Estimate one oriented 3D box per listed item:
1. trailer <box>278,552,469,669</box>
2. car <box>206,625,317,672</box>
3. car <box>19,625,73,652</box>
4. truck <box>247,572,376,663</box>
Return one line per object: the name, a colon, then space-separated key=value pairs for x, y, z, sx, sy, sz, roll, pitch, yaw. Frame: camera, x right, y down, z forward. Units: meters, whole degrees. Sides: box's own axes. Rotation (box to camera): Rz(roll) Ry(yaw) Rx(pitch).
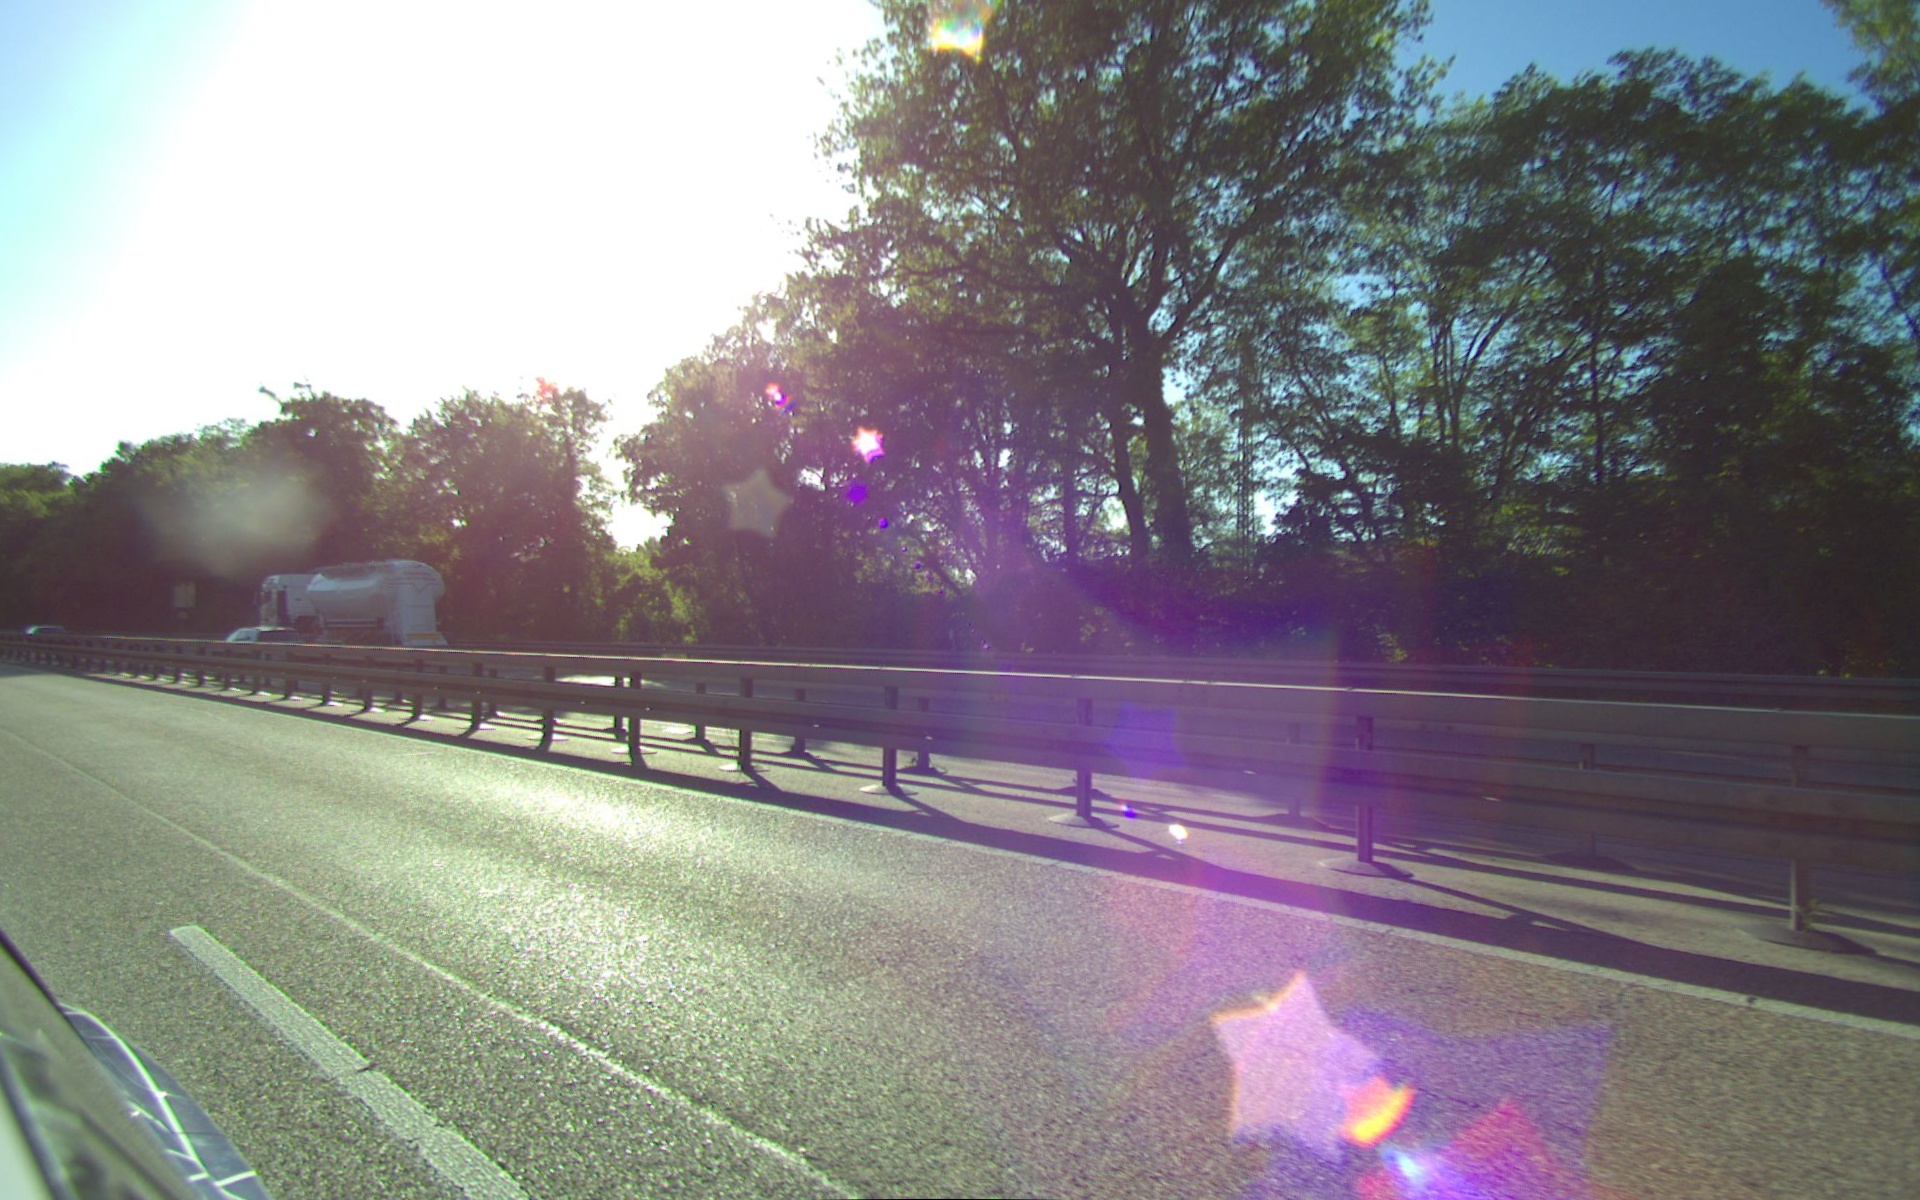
trailer: x=-23.171 y=0.483 z=39.580 sx=10.966 sy=4.028 sz=3.021 roll=-1 pitch=-2 yaw=41
car: x=-23.653 y=1.590 z=34.216 sx=4.690 sy=1.478 sz=1.781 roll=-1 pitch=-2 yaw=39
car: x=-52.210 y=2.161 z=57.795 sx=4.087 sy=1.478 sz=1.650 roll=-1 pitch=-2 yaw=39
truck: x=-28.015 y=0.776 z=43.644 sx=6.150 sy=3.658 sz=2.951 roll=-1 pitch=-2 yaw=40
